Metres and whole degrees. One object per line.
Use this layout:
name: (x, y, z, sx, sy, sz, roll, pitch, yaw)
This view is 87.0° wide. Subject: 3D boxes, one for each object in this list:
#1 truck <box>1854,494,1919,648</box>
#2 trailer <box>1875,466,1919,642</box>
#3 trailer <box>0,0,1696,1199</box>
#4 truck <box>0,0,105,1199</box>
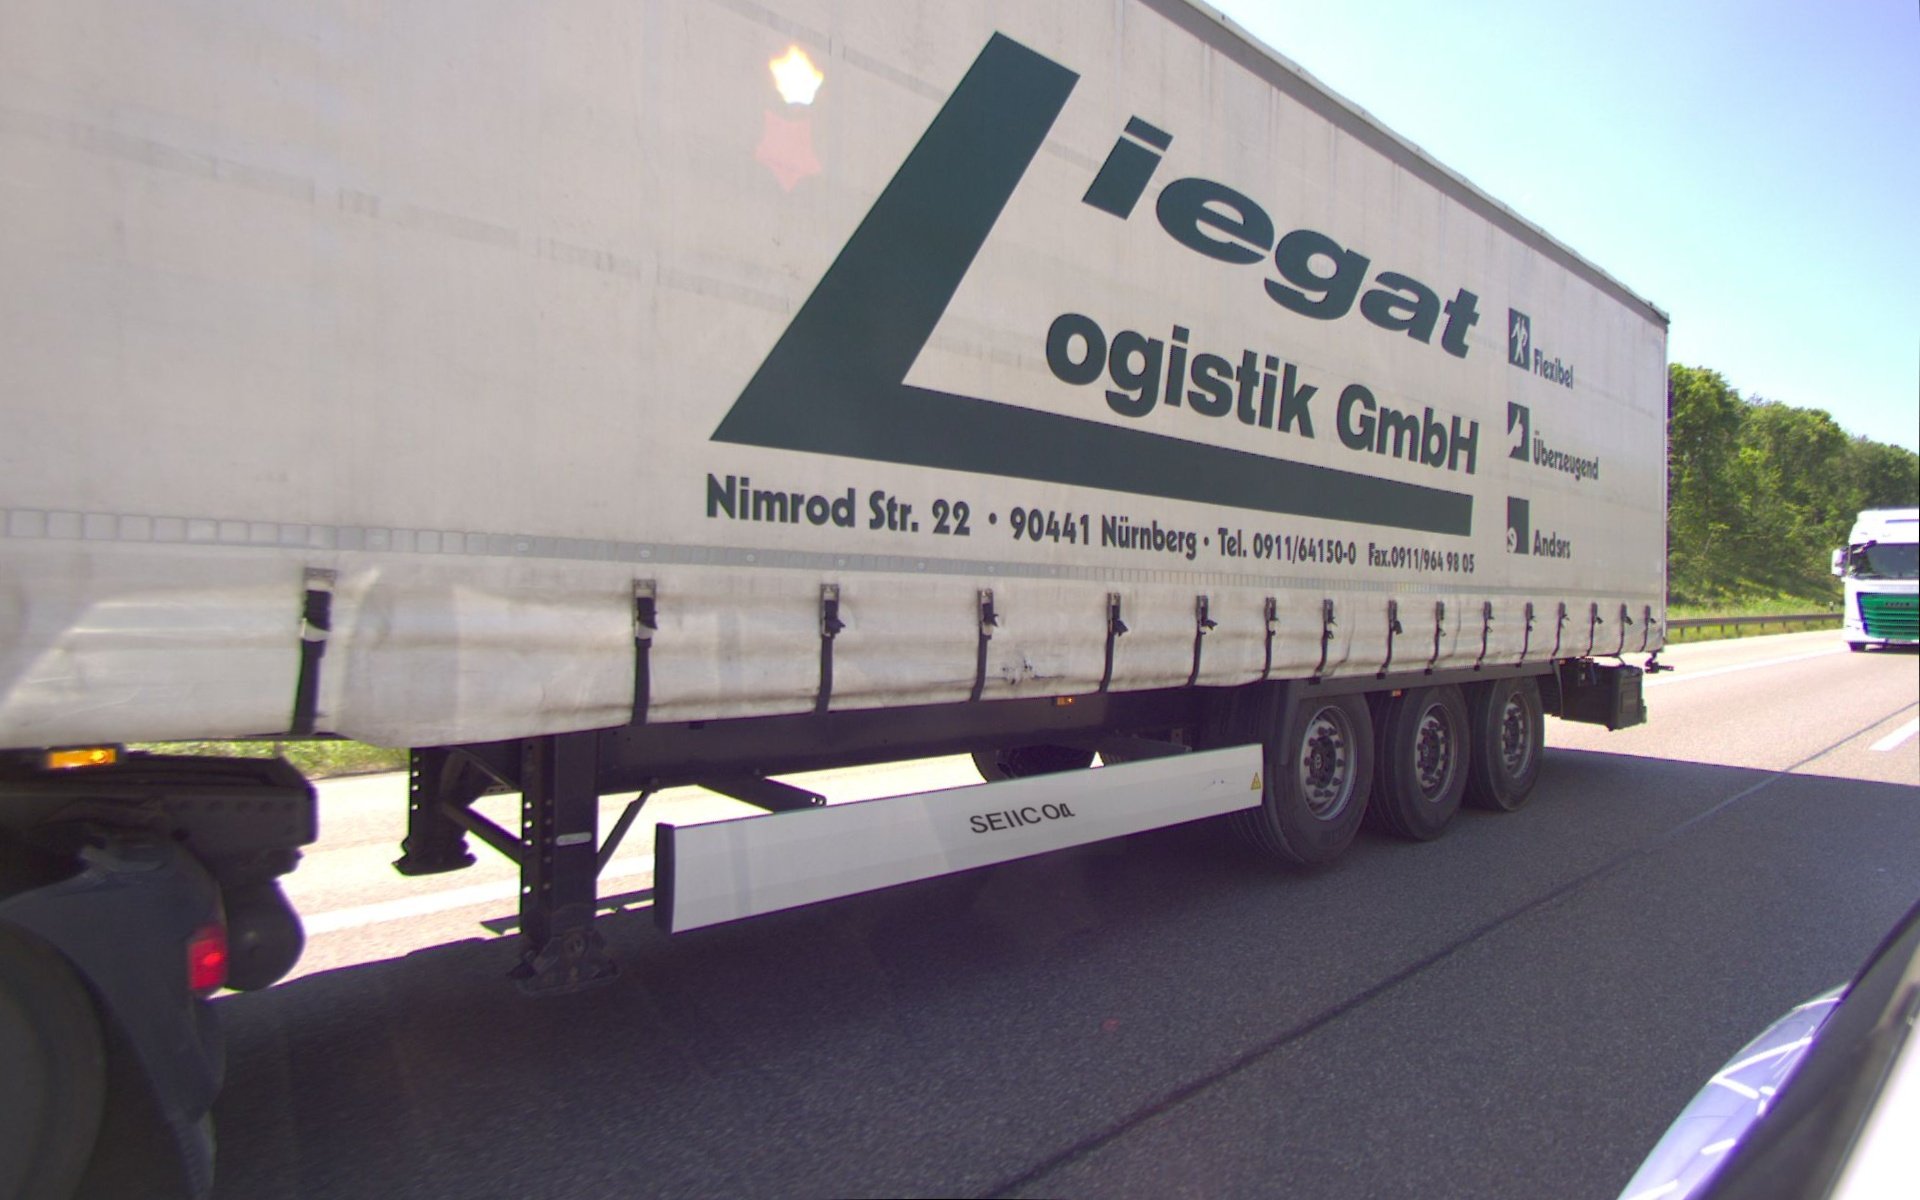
truck: (27.815, -0.802, 28.889, 6.509, 4.080, 2.540, -1, 1, -40)
trailer: (33.811, -1.439, 33.923, 15.000, 5.103, 2.573, -1, 1, -40)
trailer: (0.952, -0.761, 5.994, 13.012, 4.259, 2.790, 1, -1, -42)
truck: (-4.715, -0.782, 1.078, 5.767, 4.259, 2.790, 1, -1, -41)
